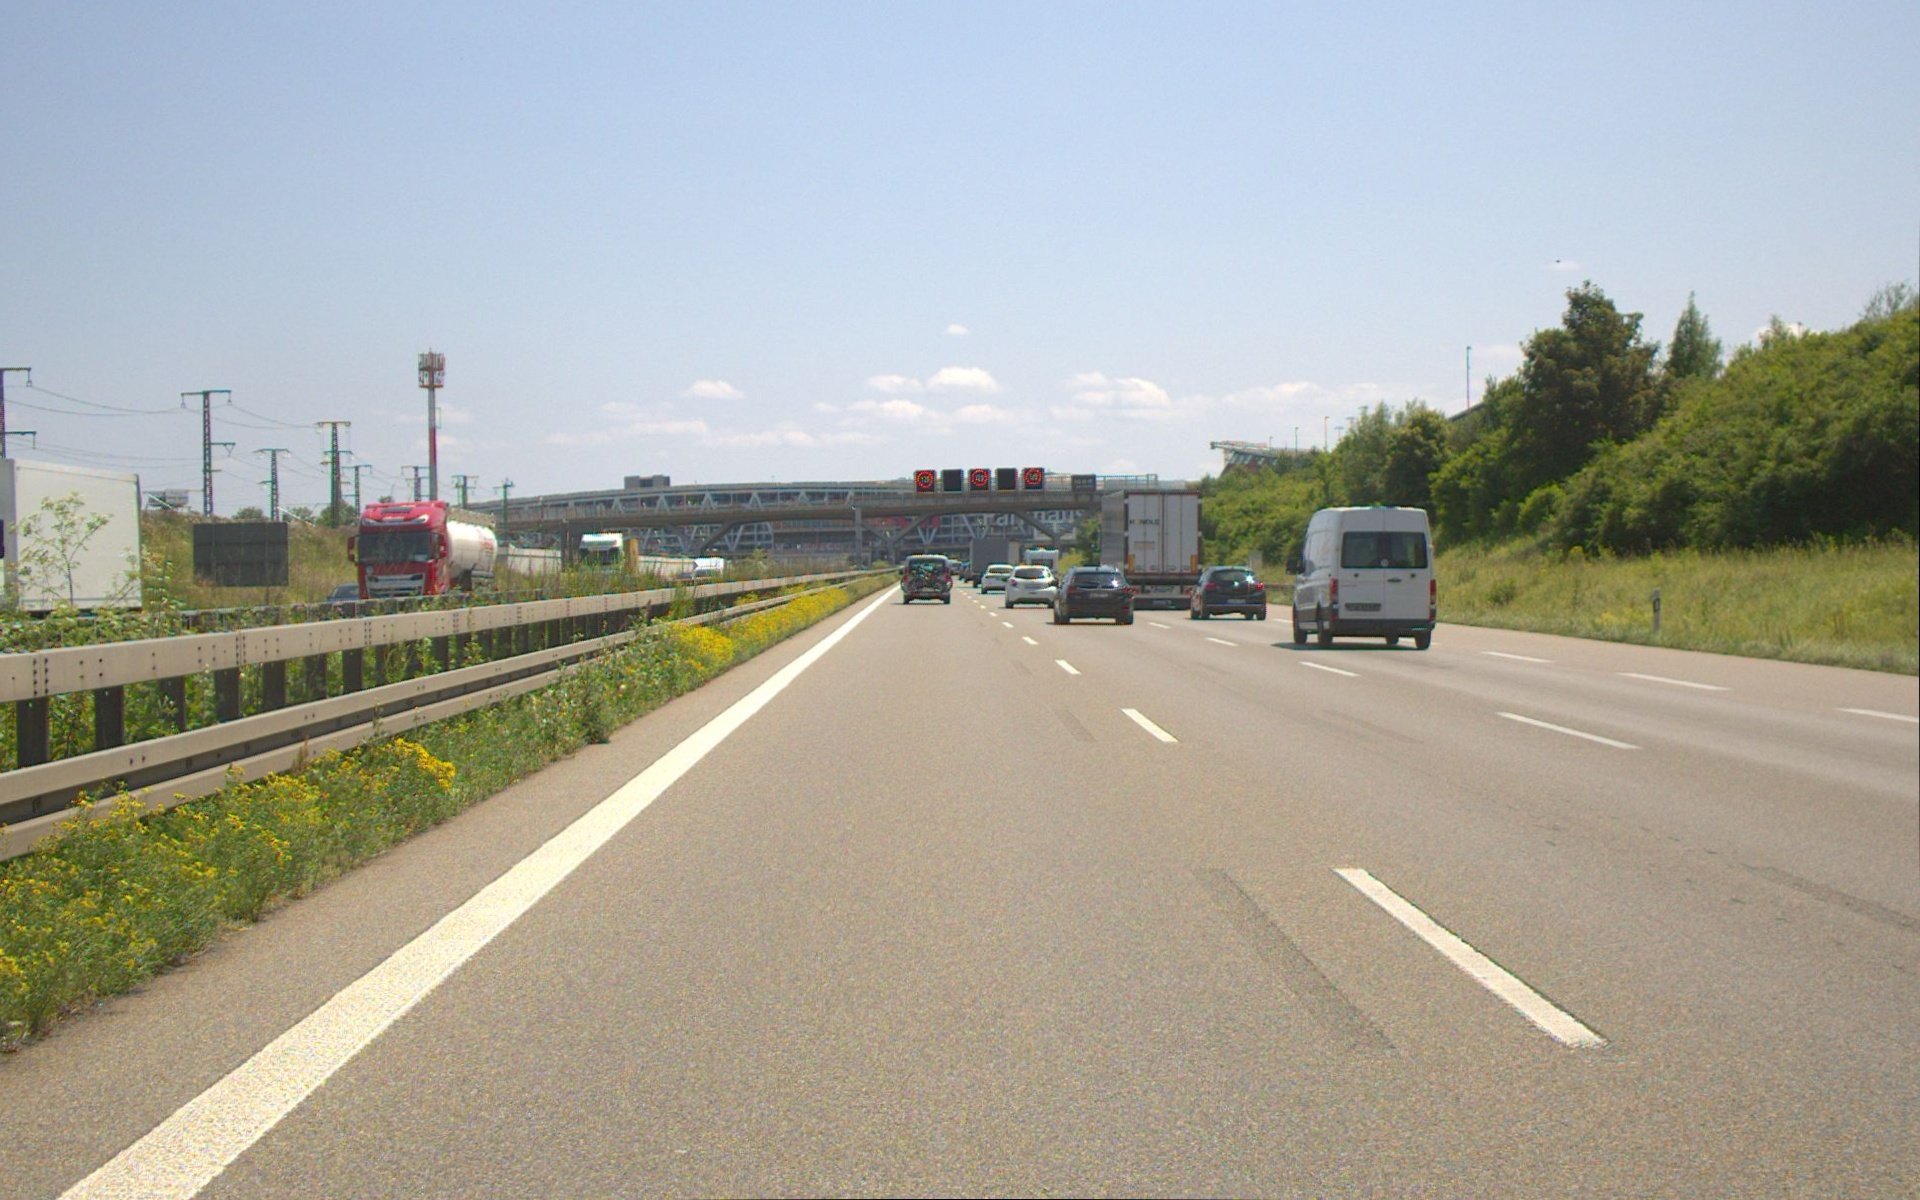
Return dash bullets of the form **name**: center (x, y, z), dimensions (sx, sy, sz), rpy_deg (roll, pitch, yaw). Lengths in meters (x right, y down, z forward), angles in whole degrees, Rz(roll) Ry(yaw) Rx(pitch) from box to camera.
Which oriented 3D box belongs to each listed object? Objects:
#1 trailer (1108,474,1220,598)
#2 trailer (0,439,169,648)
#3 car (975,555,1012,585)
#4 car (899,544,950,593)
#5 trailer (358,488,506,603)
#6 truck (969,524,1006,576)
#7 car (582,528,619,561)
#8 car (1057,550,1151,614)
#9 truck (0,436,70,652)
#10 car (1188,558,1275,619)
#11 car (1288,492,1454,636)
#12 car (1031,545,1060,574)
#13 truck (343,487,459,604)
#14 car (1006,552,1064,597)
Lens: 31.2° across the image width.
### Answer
- **trailer**: center (6.943, -2.177, 118.352), dimensions (3.177, 4.046, 9.440), rpy_deg (-1, 1, 0)
- **trailer**: center (-16.465, -0.996, 60.648), dimensions (2.787, 3.377, 9.583), rpy_deg (1, 1, 0)
- **car**: center (1.710, -1.533, 176.762), dimensions (1.881, 1.521, 4.000), rpy_deg (1, 0, 1)
- **car**: center (-1.311, -1.165, 128.898), dimensions (1.881, 1.769, 4.000), rpy_deg (-1, 0, 0)
- **trailer**: center (-17.407, -1.776, 114.289), dimensions (2.787, 3.509, 13.841), rpy_deg (1, 1, 0)
- **truck**: center (1.818, -3.303, 228.211), dimensions (2.355, 3.404, 6.057), rpy_deg (0, 1, 0)
- **car**: center (-22.050, -3.422, 210.830), dimensions (1.993, 2.007, 4.000), rpy_deg (0, 1, -2)
- **car**: center (3.598, -0.436, 86.623), dimensions (1.993, 1.503, 4.000), rpy_deg (1, -1, -3)
- **truck**: center (-16.429, -0.927, 55.634), dimensions (2.787, 3.377, 4.713), rpy_deg (1, 1, 0)
- **car**: center (7.517, -0.292, 95.429), dimensions (1.993, 1.590, 4.000), rpy_deg (1, -1, -1)
- **car**: center (7.508, -0.676, 63.320), dimensions (2.274, 2.519, 5.400), rpy_deg (0, 1, -1)
- **car**: center (6.063, -2.871, 243.260), dimensions (1.993, 2.007, 4.437), rpy_deg (-1, 1, 1)
- **truck**: center (-17.358, -1.693, 107.078), dimensions (2.787, 3.509, 4.713), rpy_deg (1, 1, 0)
- **car**: center (2.588, -0.862, 118.213), dimensions (1.881, 1.521, 4.000), rpy_deg (1, 0, 2)
